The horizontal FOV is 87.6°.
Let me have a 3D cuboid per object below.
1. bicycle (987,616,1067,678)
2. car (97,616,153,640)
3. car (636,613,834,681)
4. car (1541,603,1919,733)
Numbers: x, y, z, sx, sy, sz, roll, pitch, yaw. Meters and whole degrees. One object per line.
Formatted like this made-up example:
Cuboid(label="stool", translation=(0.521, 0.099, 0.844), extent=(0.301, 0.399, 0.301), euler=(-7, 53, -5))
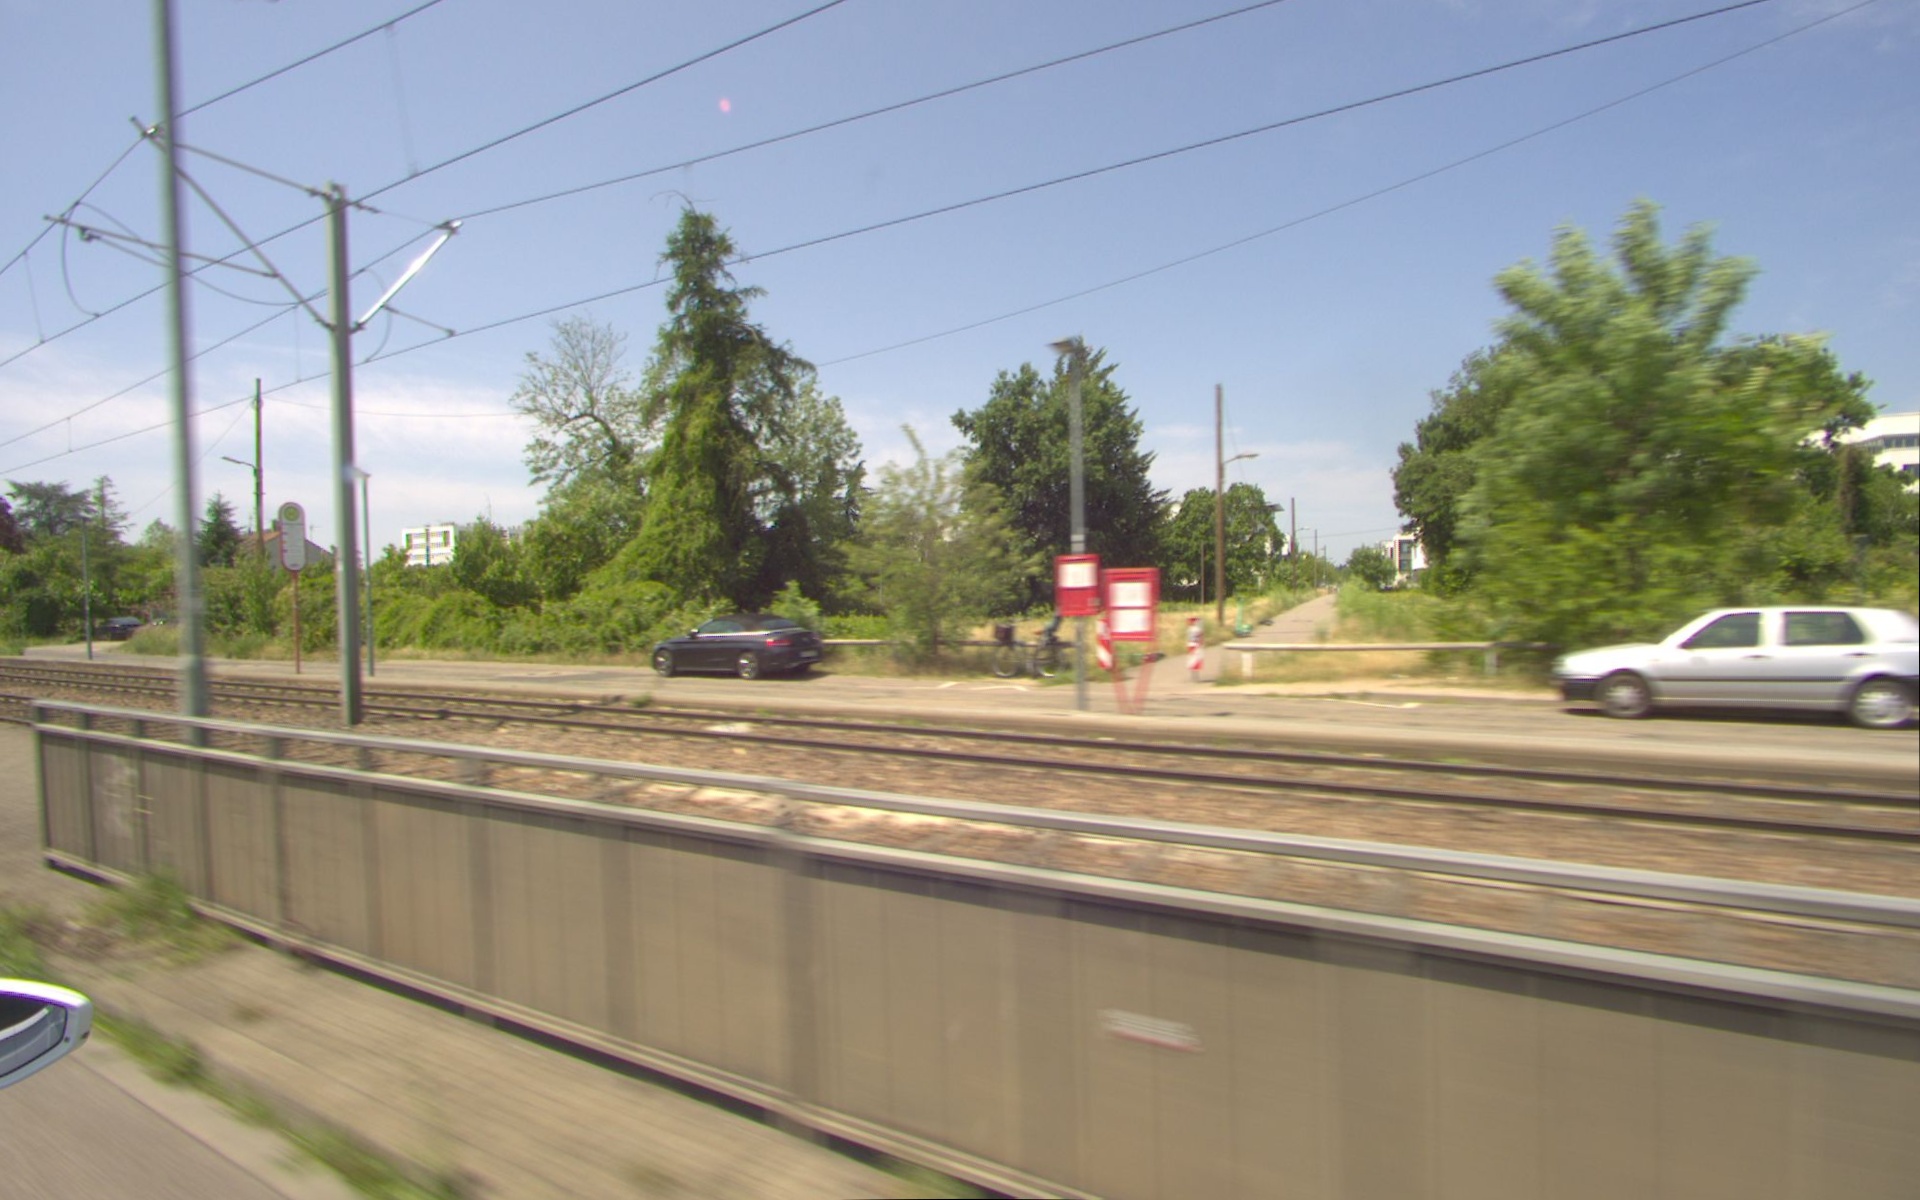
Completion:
Cuboid(label="bicycle", translation=(1.432, 1.000, 21.596), extent=(1.648, 1.286, 0.703), euler=(-1, 1, -2))
Cuboid(label="car", translation=(-51.640, 1.694, 61.891), extent=(3.688, 1.437, 1.716), euler=(-1, -1, 34))
Cuboid(label="car", translation=(-5.289, 1.038, 23.243), extent=(4.805, 1.440, 1.616), euler=(-1, -1, 33))
Cuboid(label="car", translation=(9.754, 0.794, 12.820), extent=(3.943, 1.440, 1.935), euler=(-1, -1, 32))
